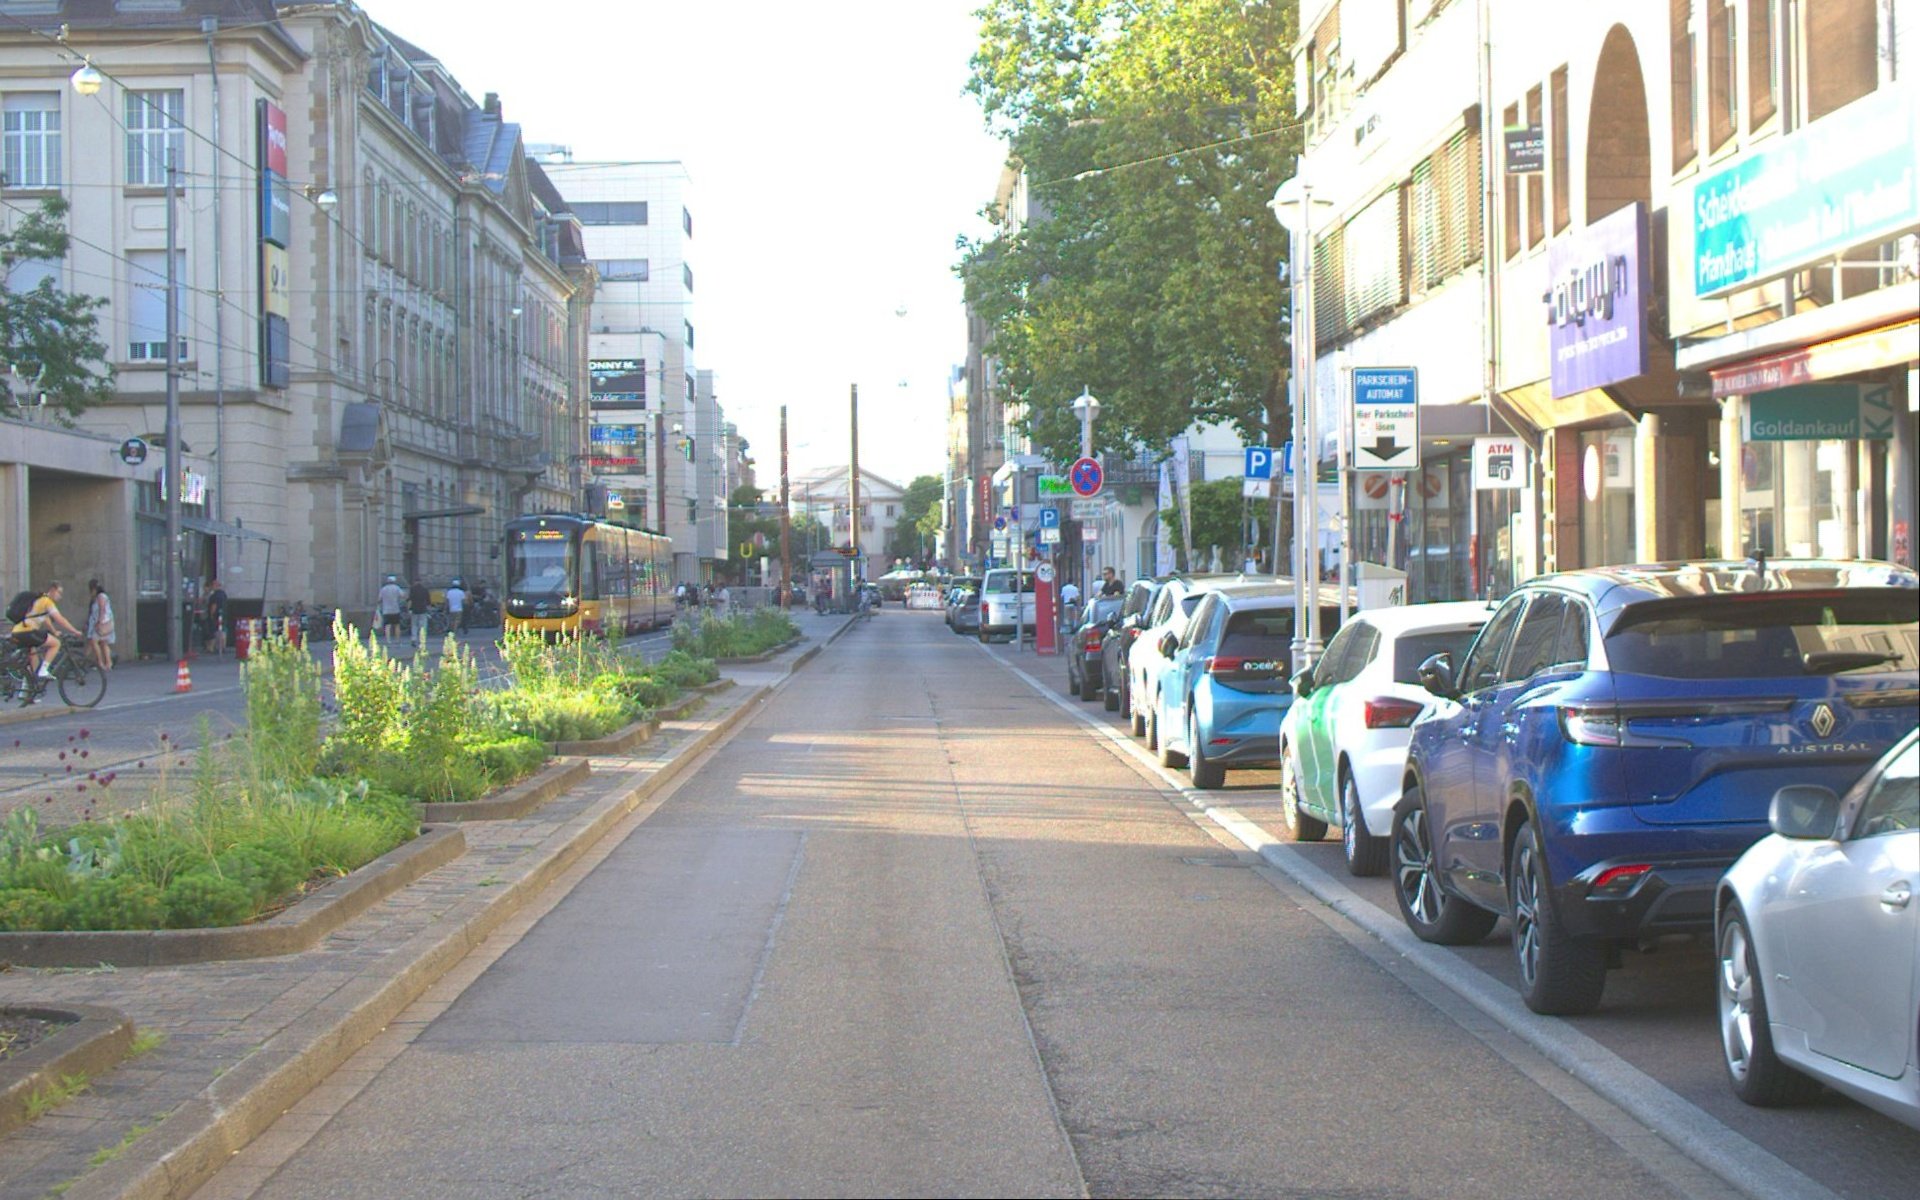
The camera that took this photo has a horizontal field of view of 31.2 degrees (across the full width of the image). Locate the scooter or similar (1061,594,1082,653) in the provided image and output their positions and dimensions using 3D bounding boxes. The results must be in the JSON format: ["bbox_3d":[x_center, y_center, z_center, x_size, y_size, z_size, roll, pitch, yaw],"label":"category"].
[{"bbox_3d":[2.336,0.482,71.970,0.315,1.217,1.272,-1,0,6],"label":"scooter or similar"}]

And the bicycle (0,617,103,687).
[{"bbox_3d":[-16.680,0.945,62.075,2.241,1.227,0.585,-1,-1,-1],"label":"bicycle"}]

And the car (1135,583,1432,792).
[{"bbox_3d":[2.548,0.646,28.169,1.809,1.547,4.836,-1,0,-2],"label":"car"}]

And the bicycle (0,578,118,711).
[{"bbox_3d":[-12.398,0.582,45.689,2.362,1.734,0.602,0,0,-45],"label":"bicycle"}]

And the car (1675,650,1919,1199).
[{"bbox_3d":[3.057,0.787,8.827,1.674,1.278,4.063,-1,0,2],"label":"car"}]

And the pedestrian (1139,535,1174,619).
[{"bbox_3d":[4.062,-0.476,71.007,0.678,1.711,0.654,-1,-2,1],"label":"pedestrian"}]

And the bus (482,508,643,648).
[{"bbox_3d":[-11.209,-0.612,98.683,2.822,3.639,17.073,-1,0,-1],"label":"bus"}]

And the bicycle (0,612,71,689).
[{"bbox_3d":[-16.396,0.875,58.879,2.197,1.296,0.579,-1,-2,-1],"label":"bicycle"}]

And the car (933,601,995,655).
[{"bbox_3d":[0.121,0.952,117.346,1.993,1.755,4.421,-1,0,-1],"label":"car"}]

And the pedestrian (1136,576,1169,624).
[{"bbox_3d":[5.378,-0.001,96.212,0.822,1.301,0.870,-1,-2,-2],"label":"pedestrian"}]

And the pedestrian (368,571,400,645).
[{"bbox_3d":[-14.505,0.194,86.583,0.693,1.841,0.662,-1,-2,-1],"label":"pedestrian"}]

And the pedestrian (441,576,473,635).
[{"bbox_3d":[-14.773,0.169,100.955,0.814,1.701,0.761,-1,-2,-1],"label":"pedestrian"}]

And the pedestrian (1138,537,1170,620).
[{"bbox_3d":[4.042,-0.444,71.678,0.614,1.711,0.662,-1,-2,1],"label":"pedestrian"}]

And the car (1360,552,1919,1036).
[{"bbox_3d":[2.779,0.636,13.621,1.765,1.599,4.288,-1,0,-2],"label":"car"}]

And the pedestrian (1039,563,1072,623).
[{"bbox_3d":[2.802,-0.202,100.957,0.786,1.745,0.895,-1,-2,-8],"label":"pedestrian"}]

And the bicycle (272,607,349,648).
[{"bbox_3d":[-18.385,0.782,97.378,2.096,1.144,0.575,-1,-2,-5],"label":"bicycle"}]

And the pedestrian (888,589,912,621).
[{"bbox_3d":[-3.625,0.313,207.699,1.229,1.922,1.022,-1,0,-17],"label":"pedestrian"}]

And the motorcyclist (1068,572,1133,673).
[{"bbox_3d":[2.556,0.413,62.471,1.002,1.807,0.959,-1,-2,13],"label":"motorcyclist"}]

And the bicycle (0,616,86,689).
[{"bbox_3d":[-16.550,0.936,60.404,2.241,1.251,0.579,-1,-2,-1],"label":"bicycle"}]

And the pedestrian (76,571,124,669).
[{"bbox_3d":[-17.164,0.407,68.592,0.724,1.928,0.792,-1,-2,2],"label":"pedestrian"}]

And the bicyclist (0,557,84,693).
[{"bbox_3d":[-12.320,0.326,45.706,0.930,1.770,0.970,-1,0,-45],"label":"bicyclist"}]

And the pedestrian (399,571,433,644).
[{"bbox_3d":[-13.697,0.191,86.629,0.733,1.834,0.715,-1,-1,-1],"label":"pedestrian"}]

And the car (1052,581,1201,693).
[{"bbox_3d":[2.265,0.485,47.652,1.655,1.375,4.341,-4,0,-1],"label":"car"}]

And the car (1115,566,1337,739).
[{"bbox_3d":[2.551,0.472,33.987,1.816,1.580,4.723,0,0,0],"label":"car"}]

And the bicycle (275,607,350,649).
[{"bbox_3d":[-18.462,0.799,98.044,2.077,1.144,0.575,-1,-2,-5],"label":"bicycle"}]

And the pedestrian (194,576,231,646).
[{"bbox_3d":[-17.659,0.255,81.217,0.714,1.640,0.660,1,0,-23],"label":"pedestrian"}]

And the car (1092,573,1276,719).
[{"bbox_3d":[2.615,0.500,41.079,1.775,1.533,4.579,-1,2,-1],"label":"car"}]

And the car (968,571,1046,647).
[{"bbox_3d":[1.230,0.235,92.481,1.915,1.975,4.421,-1,0,-1],"label":"car"}]

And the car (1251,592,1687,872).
[{"bbox_3d":[2.834,0.728,20.023,1.730,1.430,4.152,-1,-1,-3],"label":"car"}]

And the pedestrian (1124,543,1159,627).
[{"bbox_3d":[3.979,-0.325,75.356,0.714,1.797,0.824,-1,-1,2],"label":"pedestrian"}]

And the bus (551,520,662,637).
[{"bbox_3d":[-11.381,-0.716,111.367,2.822,3.612,8.289,-1,1,-1],"label":"bus"}]
